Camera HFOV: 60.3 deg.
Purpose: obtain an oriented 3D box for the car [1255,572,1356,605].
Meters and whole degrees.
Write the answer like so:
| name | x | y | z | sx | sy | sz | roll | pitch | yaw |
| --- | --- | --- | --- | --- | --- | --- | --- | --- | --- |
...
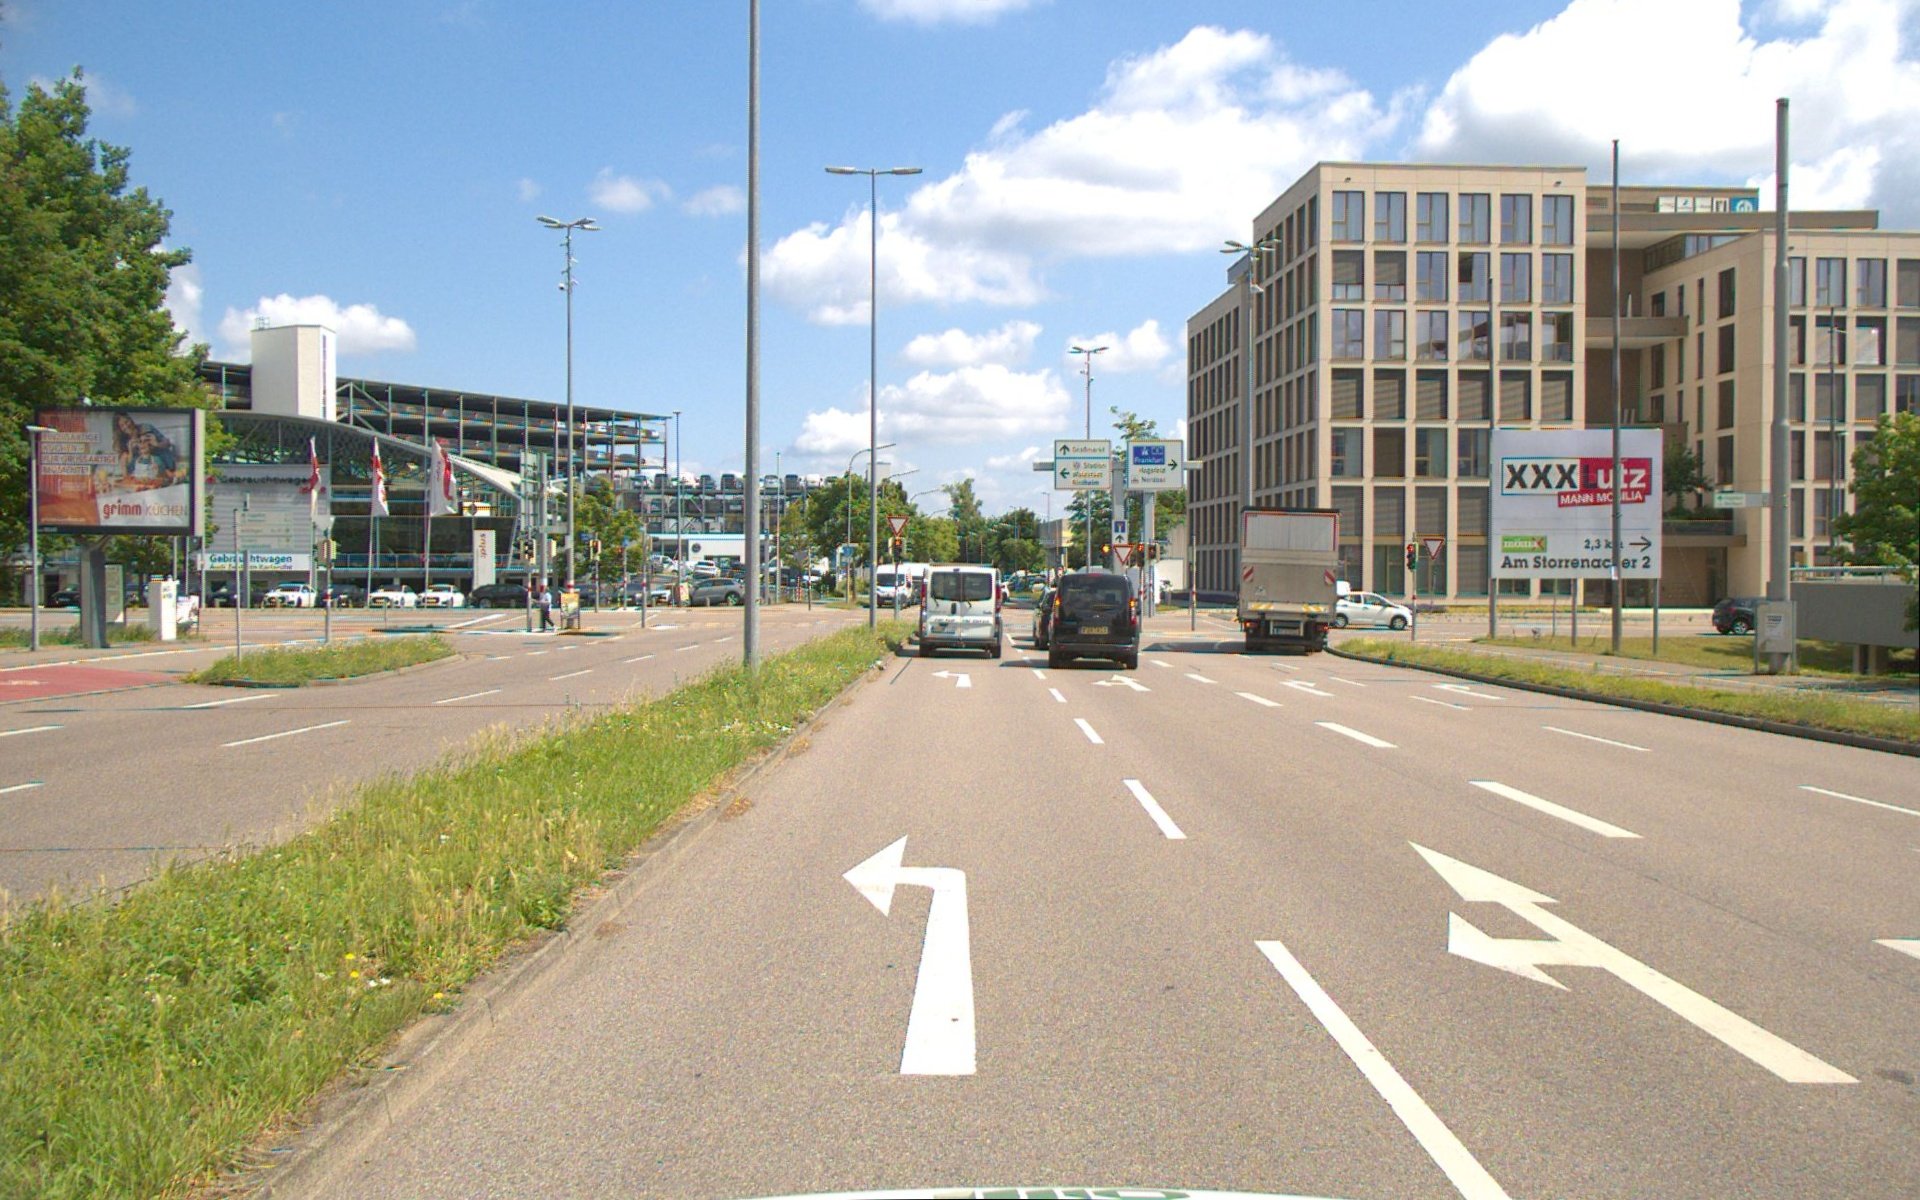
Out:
| name | x | y | z | sx | sy | sz | roll | pitch | yaw |
| --- | --- | --- | --- | --- | --- | --- | --- | --- | --- |
| car | 18.102 | -0.609 | 86.763 | 4.883 | 1.635 | 1.999 | 0 | 1 | -3 |

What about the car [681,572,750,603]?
| name | x | y | z | sx | sy | sz | roll | pitch | yaw |
| --- | --- | --- | --- | --- | --- | --- | --- | --- | --- |
| car | -14.137 | -0.712 | 95.822 | 3.785 | 1.668 | 1.857 | -1 | 1 | -4 |

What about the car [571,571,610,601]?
| name | x | y | z | sx | sy | sz | roll | pitch | yaw |
| --- | --- | --- | --- | --- | --- | --- | --- | --- | --- |
| car | -20.169 | -0.748 | 90.211 | 1.788 | 1.579 | 3.982 | 1 | 1 | -17 |

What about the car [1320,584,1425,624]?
| name | x | y | z | sx | sy | sz | roll | pitch | yaw |
| --- | --- | --- | --- | --- | --- | --- | --- | --- | --- |
| car | 16.512 | 0.153 | 66.342 | 3.772 | 1.492 | 1.695 | 1 | 1 | 0 |

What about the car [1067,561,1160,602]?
| name | x | y | z | sx | sy | sz | roll | pitch | yaw |
| --- | --- | --- | --- | --- | --- | --- | --- | --- | --- |
| car | 8.932 | -1.090 | 96.687 | 5.421 | 2.294 | 1.986 | 2 | 2 | 44 |

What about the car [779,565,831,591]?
| name | x | y | z | sx | sy | sz | roll | pitch | yaw |
| --- | --- | --- | --- | --- | --- | --- | --- | --- | --- |
| car | -11.964 | -1.678 | 127.445 | 3.910 | 1.959 | 1.824 | 1 | 0 | -6 |

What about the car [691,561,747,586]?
| name | x | y | z | sx | sy | sz | roll | pitch | yaw |
| --- | --- | --- | --- | --- | --- | --- | --- | --- | --- |
| car | -18.401 | -2.048 | 126.475 | 4.084 | 1.742 | 1.687 | 2 | 1 | -6 |

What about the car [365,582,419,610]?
| name | x | y | z | sx | sy | sz | roll | pitch | yaw |
| --- | --- | --- | --- | --- | --- | --- | --- | --- | --- |
| car | -30.757 | -0.234 | 89.665 | 1.869 | 1.400 | 3.750 | 0 | 1 | -4 |

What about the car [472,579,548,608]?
| name | x | y | z | sx | sy | sz | roll | pitch | yaw |
| --- | --- | --- | --- | --- | --- | --- | --- | --- | --- |
| car | -24.405 | -0.347 | 89.852 | 3.718 | 1.539 | 1.677 | 0 | 1 | -5 |

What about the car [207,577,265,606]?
| name | x | y | z | sx | sy | sz | roll | pitch | yaw |
| --- | --- | --- | --- | --- | --- | --- | --- | --- | --- |
| car | -38.934 | -0.470 | 89.034 | 1.693 | 1.512 | 3.699 | 0 | 1 | -4 |

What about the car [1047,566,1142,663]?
| name | x | y | z | sx | sy | sz | roll | pitch | yaw |
| --- | --- | --- | --- | --- | --- | --- | --- | --- | --- |
| car | 2.688 | 0.253 | 33.796 | 1.782 | 1.840 | 4.002 | 1 | 1 | 3 |

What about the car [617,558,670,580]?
| name | x | y | z | sx | sy | sz | roll | pitch | yaw |
| --- | --- | --- | --- | --- | --- | --- | --- | --- | --- |
| car | -25.748 | -2.508 | 134.706 | 4.084 | 1.743 | 1.687 | 1 | 0 | -6 |

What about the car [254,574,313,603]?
| name | x | y | z | sx | sy | sz | roll | pitch | yaw |
| --- | --- | --- | --- | --- | --- | --- | --- | --- | --- |
| car | -36.482 | -0.629 | 89.320 | 1.842 | 1.512 | 3.699 | 0 | 1 | -4 |

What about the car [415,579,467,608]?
| name | x | y | z | sx | sy | sz | roll | pitch | yaw |
| --- | --- | --- | --- | --- | --- | --- | --- | --- | --- |
| car | -28.225 | -0.386 | 90.034 | 1.741 | 1.475 | 4.027 | 0 | 1 | -4 |

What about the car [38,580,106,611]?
| name | x | y | z | sx | sy | sz | roll | pitch | yaw |
| --- | --- | --- | --- | --- | --- | --- | --- | --- | --- |
| car | -46.633 | -0.239 | 86.931 | 1.801 | 1.513 | 3.698 | 0 | 1 | -5 |

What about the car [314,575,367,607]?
| name | x | y | z | sx | sy | sz | roll | pitch | yaw |
| --- | --- | --- | --- | --- | --- | --- | --- | --- | --- |
| car | -33.410 | -0.503 | 89.311 | 1.722 | 1.689 | 3.614 | 0 | 1 | -4 |

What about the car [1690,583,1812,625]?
| name | x | y | z | sx | sy | sz | roll | pitch | yaw |
| --- | --- | --- | --- | --- | --- | --- | --- | --- | --- |
| car | 31.171 | 0.143 | 65.252 | 4.056 | 1.529 | 1.628 | -1 | 1 | 11 |

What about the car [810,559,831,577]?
| name | x | y | z | sx | sy | sz | roll | pitch | yaw |
| --- | --- | --- | --- | --- | --- | --- | --- | --- | --- |
| car | -12.509 | -2.907 | 148.221 | 1.809 | 1.556 | 3.997 | 0 | 1 | -4 |

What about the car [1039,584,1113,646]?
| name | x | y | z | sx | sy | sz | roll | pitch | yaw |
| --- | --- | --- | --- | --- | --- | --- | --- | --- | --- |
| car | 3.001 | 0.379 | 43.461 | 1.704 | 1.521 | 4.000 | 1 | 0 | 1 |

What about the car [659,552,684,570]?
| name | x | y | z | sx | sy | sz | roll | pitch | yaw |
| --- | --- | --- | --- | --- | --- | --- | --- | --- | --- |
| car | -25.976 | -3.536 | 149.203 | 1.809 | 1.556 | 3.997 | 0 | 1 | -4 |

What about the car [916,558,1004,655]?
| name | x | y | z | sx | sy | sz | roll | pitch | yaw |
| --- | --- | --- | --- | --- | --- | --- | --- | --- | --- |
| car | 0.044 | 0.125 | 37.479 | 1.817 | 2.053 | 4.001 | 1 | 0 | 2 |

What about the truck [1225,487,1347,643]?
| name | x | y | z | sx | sy | sz | roll | pitch | yaw |
| --- | --- | --- | --- | --- | --- | --- | --- | --- | --- |
| truck | 9.288 | -0.903 | 47.211 | 3.063 | 4.009 | 8.865 | 1 | 0 | 11 |

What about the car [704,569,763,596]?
| name | x | y | z | sx | sy | sz | roll | pitch | yaw |
| --- | --- | --- | --- | --- | --- | --- | --- | --- | --- |
| car | -15.556 | -1.186 | 113.621 | 3.835 | 1.742 | 1.688 | -1 | 1 | -4 |

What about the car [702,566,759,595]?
| name | x | y | z | sx | sy | sz | roll | pitch | yaw |
| --- | --- | --- | --- | --- | --- | --- | --- | --- | --- |
| car | -14.614 | -1.242 | 105.511 | 3.438 | 1.742 | 1.602 | -1 | 1 | -4 |

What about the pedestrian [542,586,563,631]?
| name | x | y | z | sx | sy | sz | roll | pitch | yaw |
| --- | --- | --- | --- | --- | --- | --- | --- | --- | --- |
| pedestrian | -13.947 | 0.296 | 56.638 | 0.460 | 1.538 | 0.511 | 1 | 0 | 25 |

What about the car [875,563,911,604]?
| name | x | y | z | sx | sy | sz | roll | pitch | yaw |
| --- | --- | --- | --- | --- | --- | --- | --- | --- | --- |
| car | -3.960 | -1.030 | 98.576 | 1.931 | 2.295 | 4.981 | -1 | 1 | 0 |

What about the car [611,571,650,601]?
| name | x | y | z | sx | sy | sz | roll | pitch | yaw |
| --- | --- | --- | --- | --- | --- | --- | --- | --- | --- |
| car | -18.127 | -0.780 | 90.868 | 1.788 | 1.579 | 3.982 | 1 | 1 | -17 |
